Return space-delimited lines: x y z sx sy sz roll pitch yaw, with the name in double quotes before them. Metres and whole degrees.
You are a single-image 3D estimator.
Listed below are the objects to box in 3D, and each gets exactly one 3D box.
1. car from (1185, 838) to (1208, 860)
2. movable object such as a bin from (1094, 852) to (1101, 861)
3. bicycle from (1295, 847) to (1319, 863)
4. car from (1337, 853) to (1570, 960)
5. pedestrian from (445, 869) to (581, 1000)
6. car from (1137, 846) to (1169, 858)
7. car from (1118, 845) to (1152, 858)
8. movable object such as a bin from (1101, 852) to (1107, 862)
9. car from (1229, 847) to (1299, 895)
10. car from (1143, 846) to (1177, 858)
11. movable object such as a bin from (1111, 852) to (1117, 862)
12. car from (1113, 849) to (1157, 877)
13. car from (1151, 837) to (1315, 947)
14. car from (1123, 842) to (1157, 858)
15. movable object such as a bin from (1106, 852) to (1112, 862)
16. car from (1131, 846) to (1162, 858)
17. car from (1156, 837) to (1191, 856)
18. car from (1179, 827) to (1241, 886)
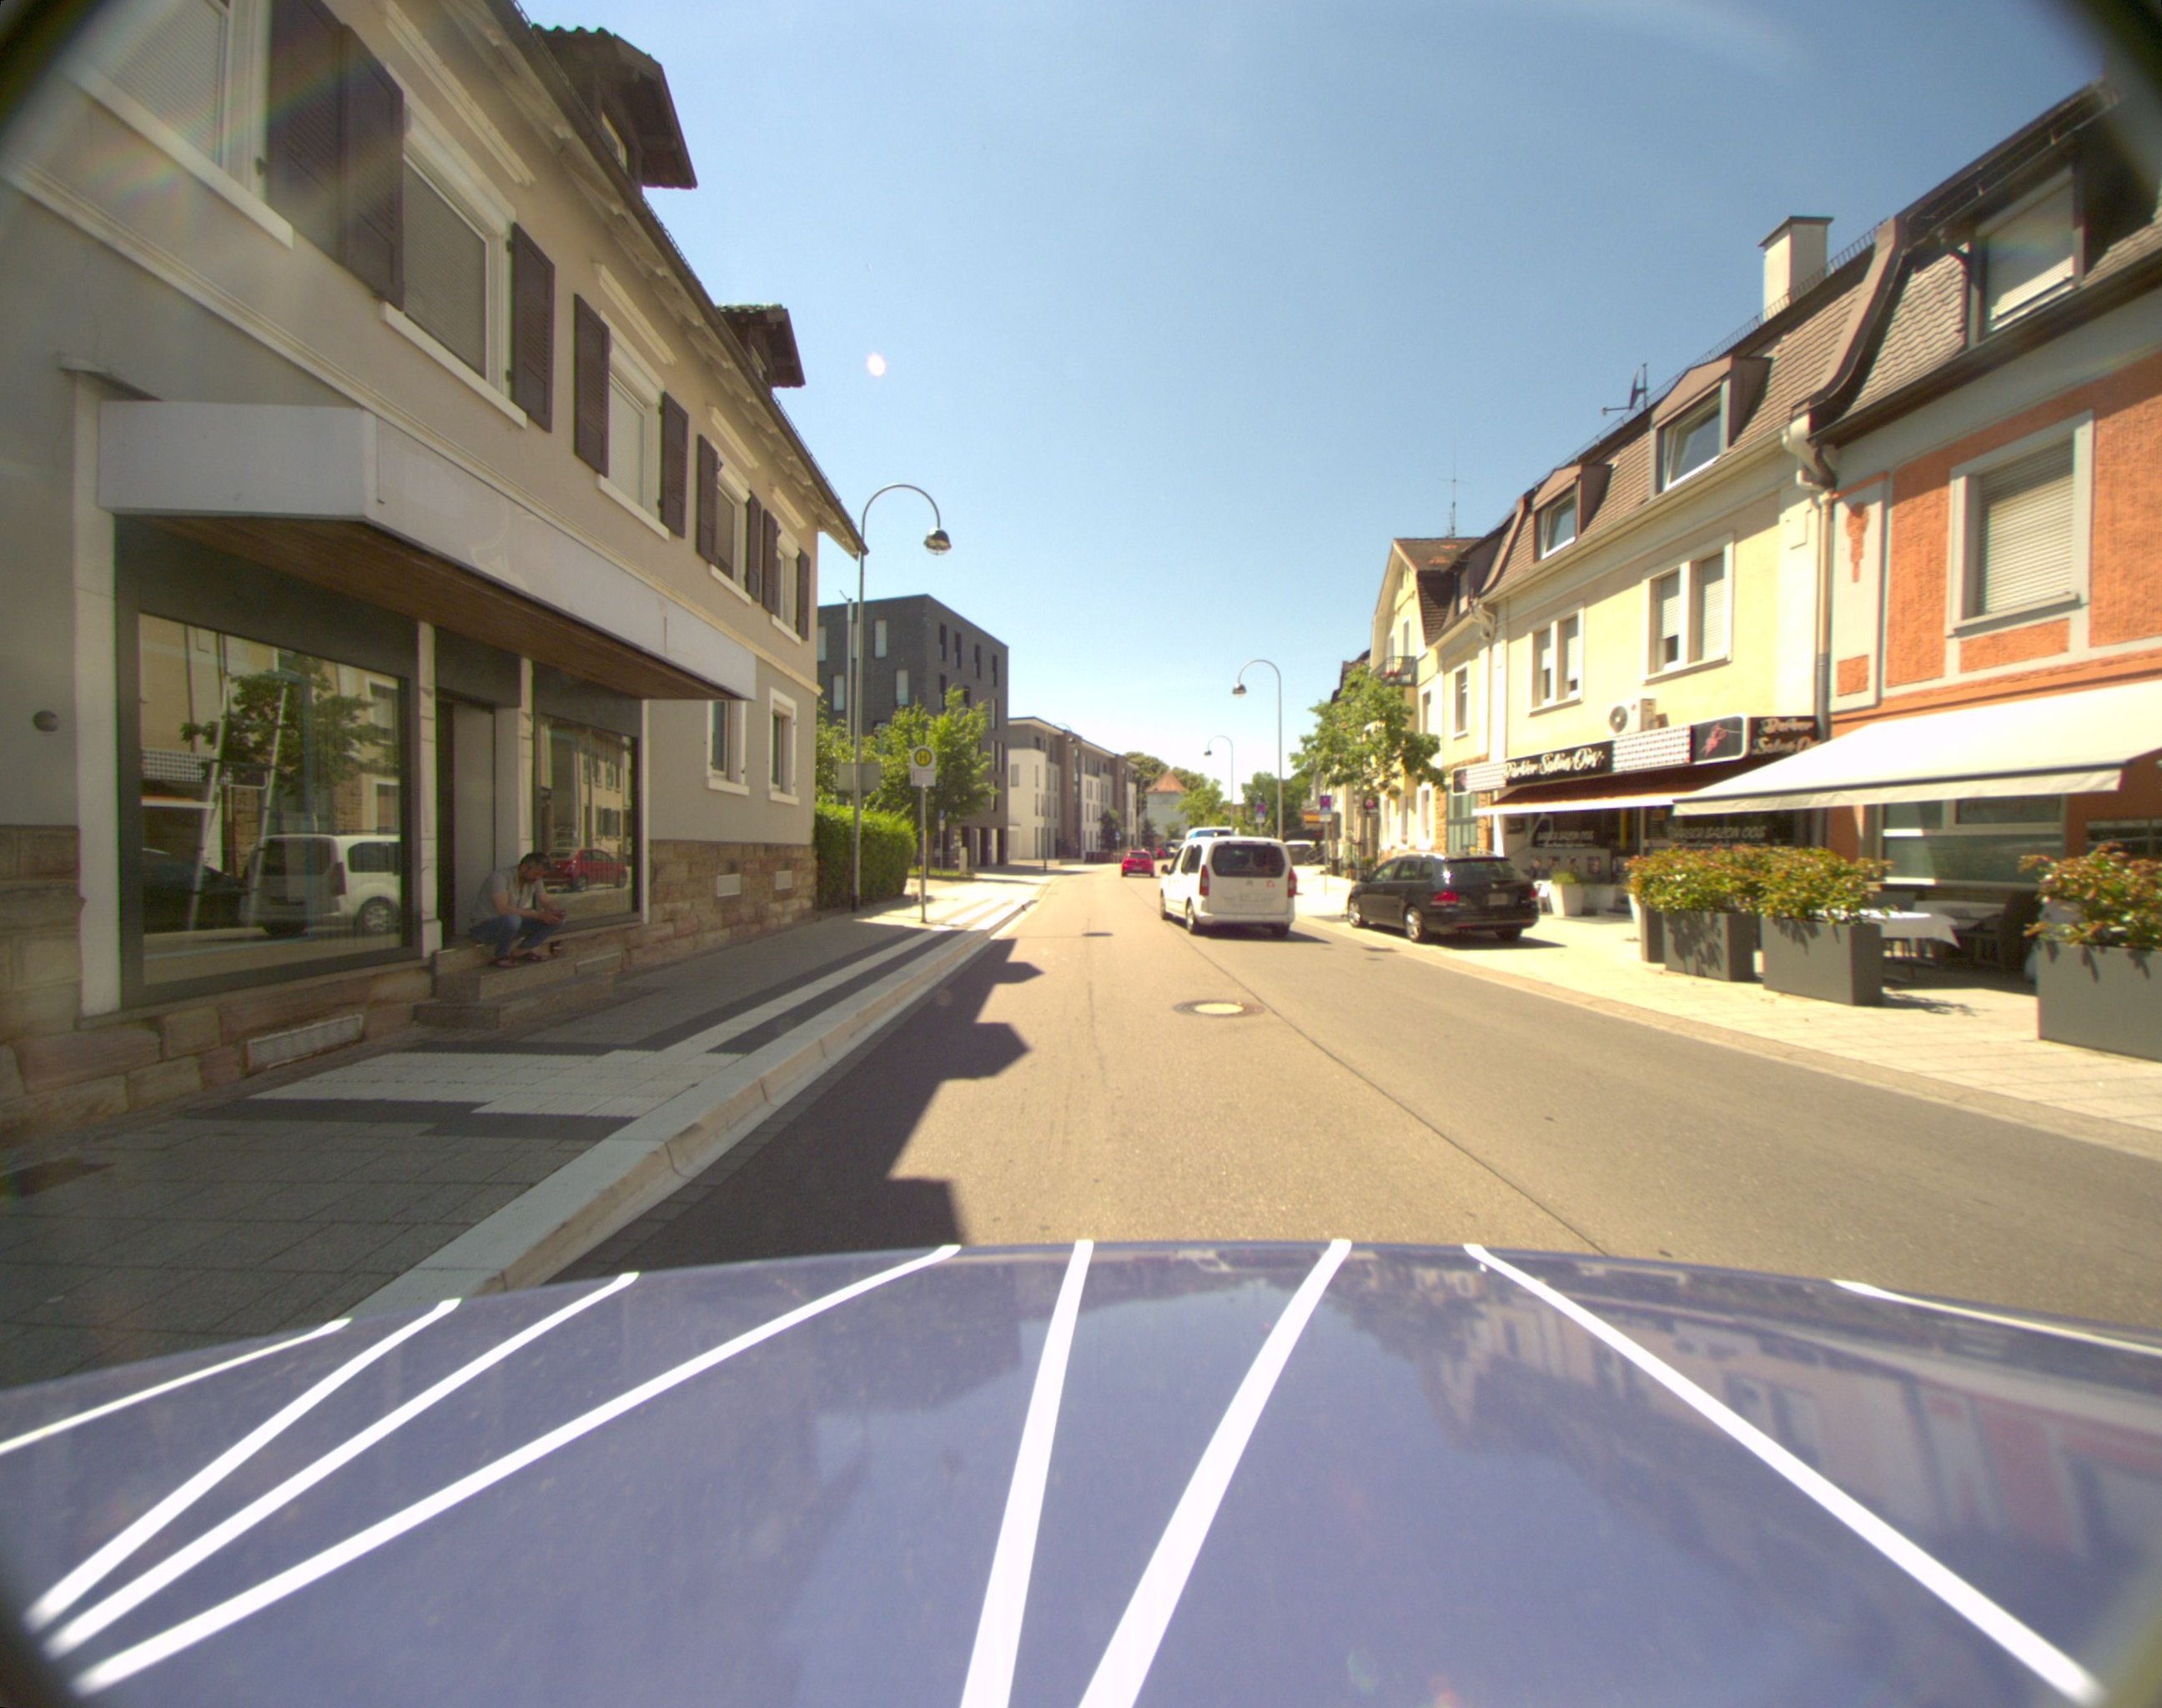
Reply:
"car" 13.127 -0.538 86.081 2.159 2.348 5.253 2 0 13
"movable object such as a bin" 1.676 0.276 77.094 0.473 0.925 0.529 2 2 17
"bicycle" 17.953 0.114 60.434 1.767 1.227 0.617 -2 0 16
"car" 6.277 0.776 13.471 1.920 1.473 4.336 -2 1 -1
"pedestrian" -4.697 0.642 6.328 0.591 0.994 0.724 1 1 -2
"car" 9.367 -0.244 98.944 3.813 1.454 1.654 1 1 16
"car" 6.478 -0.297 91.190 3.813 1.474 1.780 1 1 15
"movable object such as a bin" 2.352 0.295 76.830 0.473 0.925 0.529 2 2 17
"car" 6.377 0.549 26.816 1.564 1.512 3.514 -1 2 -1
"car" 10.692 -0.335 102.969 4.353 1.542 1.653 1 1 14
"movable object such as a bin" 3.353 0.319 76.554 0.473 0.925 0.529 2 2 17
"car" 2.954 0.456 42.291 1.921 1.418 3.978 1 1 -4
"car" 2.770 0.625 14.976 1.999 1.811 4.413 1 0 -5
"car" 7.284 -0.499 93.320 3.813 1.776 1.842 1 1 15
"movable object such as a bin" 2.849 0.303 76.705 0.473 0.925 0.529 2 2 17
"car" 8.291 -0.239 96.631 3.612 1.454 1.618 2 2 16
"car" 13.798 -1.145 112.797 4.860 2.720 1.853 1 2 17
"car" 5.904 0.063 35.421 2.097 2.484 5.503 -2 1 2
